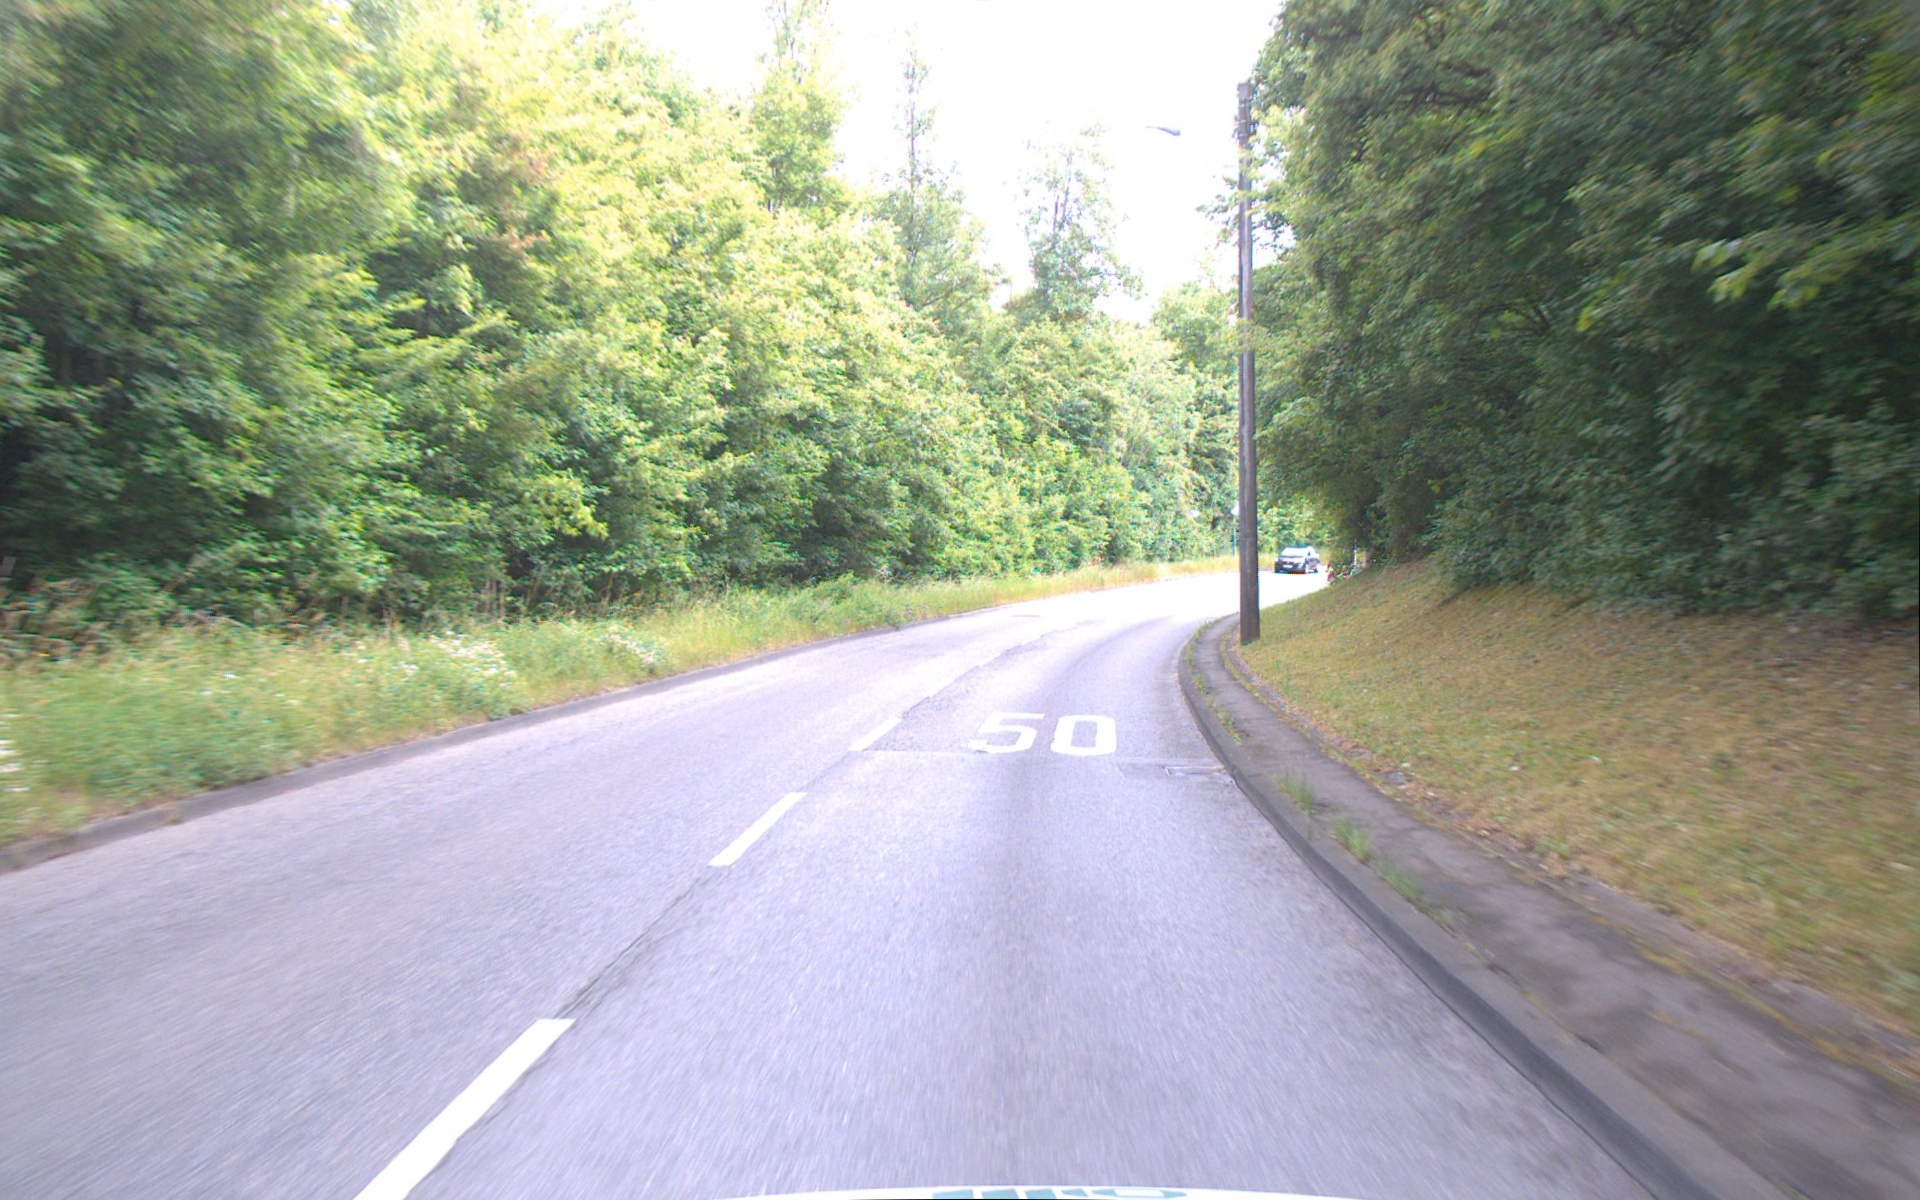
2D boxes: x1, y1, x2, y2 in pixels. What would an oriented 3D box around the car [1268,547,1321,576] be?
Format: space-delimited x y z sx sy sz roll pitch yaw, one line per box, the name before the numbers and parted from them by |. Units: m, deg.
car | 18.251 -2.105 90.059 1.767 1.459 4.658 3 3 24
